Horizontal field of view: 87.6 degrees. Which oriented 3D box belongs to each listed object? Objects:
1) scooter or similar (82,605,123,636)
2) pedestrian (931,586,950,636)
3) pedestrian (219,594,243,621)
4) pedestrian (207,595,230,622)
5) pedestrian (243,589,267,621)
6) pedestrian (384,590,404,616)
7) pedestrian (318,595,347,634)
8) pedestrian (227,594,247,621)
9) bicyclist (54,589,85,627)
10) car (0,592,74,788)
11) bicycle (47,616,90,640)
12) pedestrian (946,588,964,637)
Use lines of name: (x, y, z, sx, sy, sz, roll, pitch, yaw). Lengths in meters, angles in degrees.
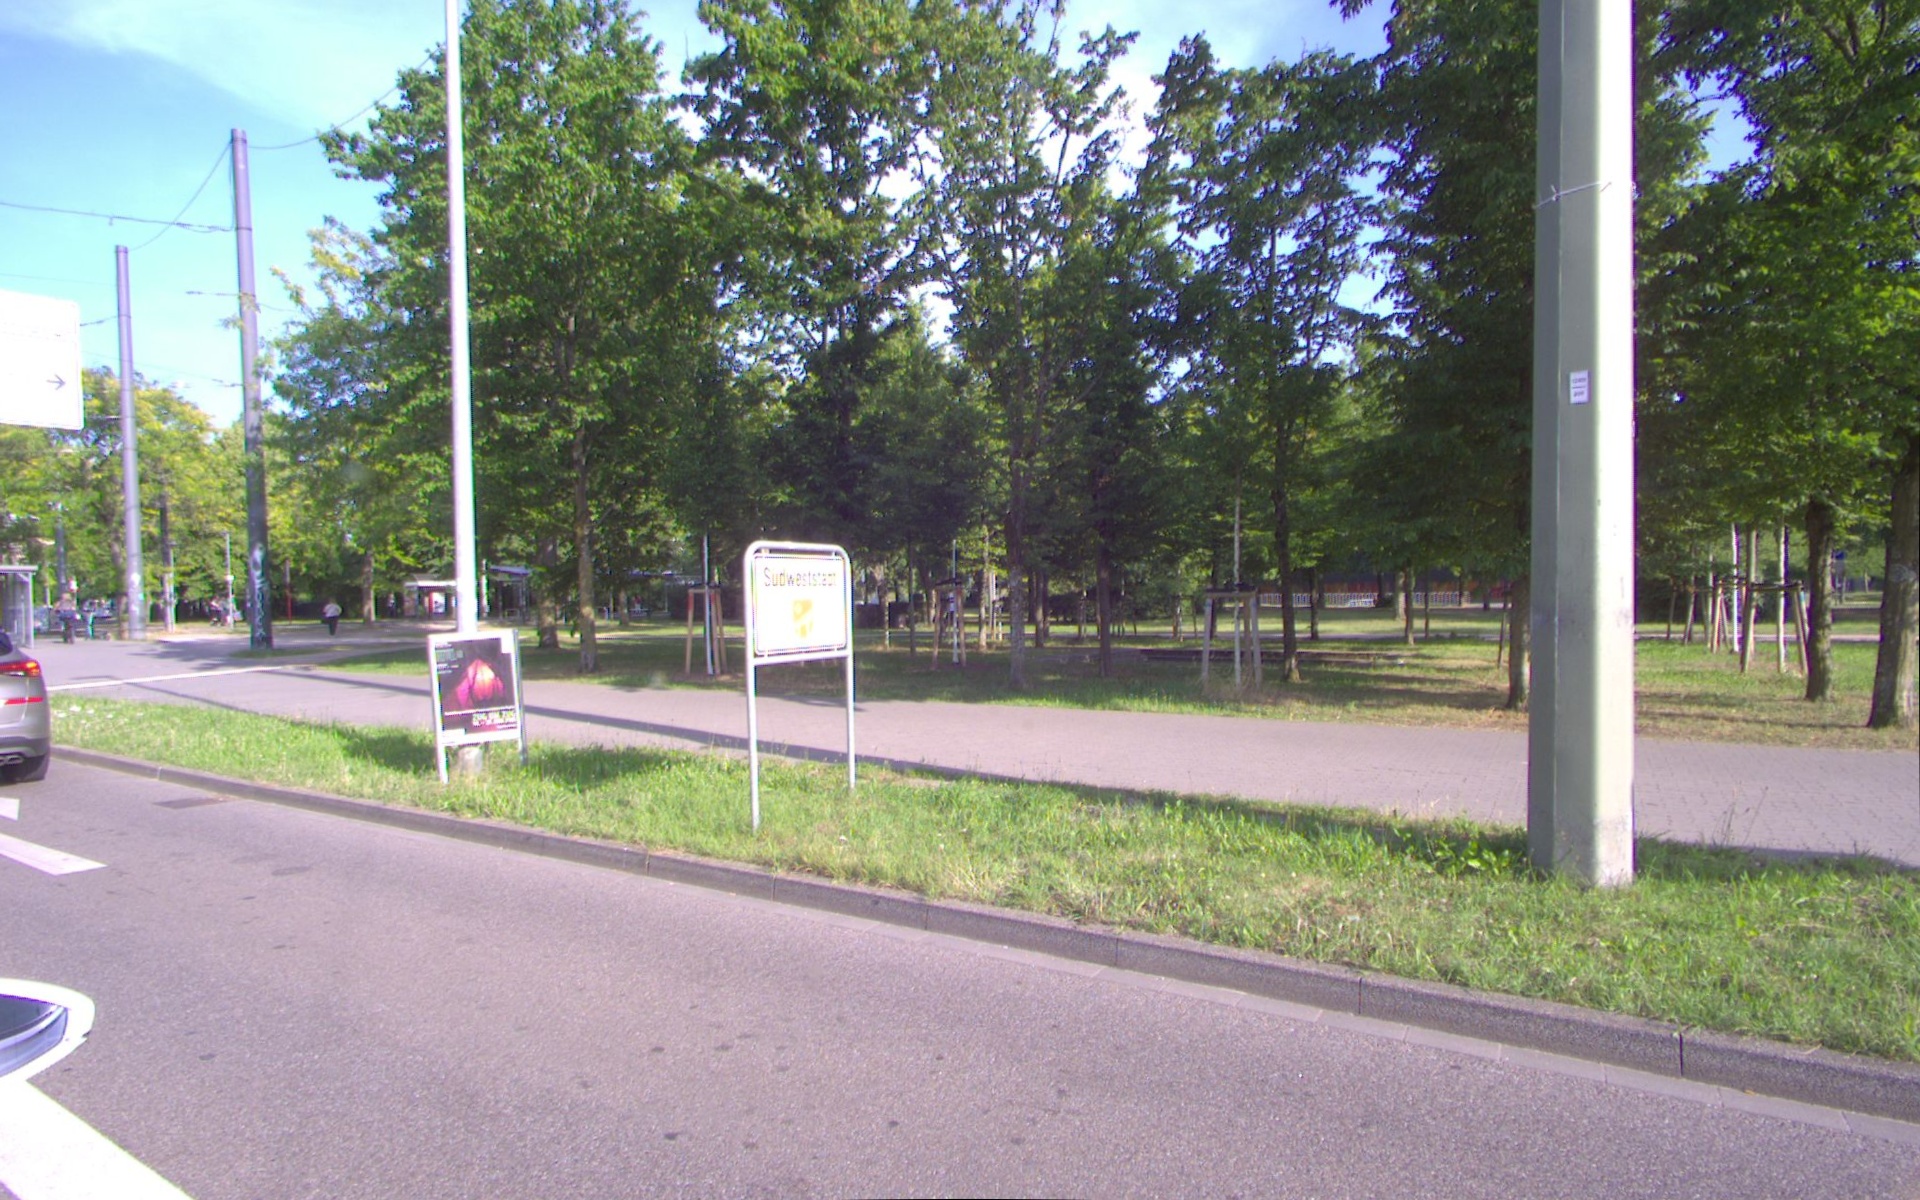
scooter or similar: (-31.538, 0.757, 36.823, 1.305, 1.132, 0.420, -1, 1, 13)
pedestrian: (-0.736, 0.420, 37.185, 0.617, 1.836, 0.502, -1, 1, 6)
pedestrian: (-41.096, 0.419, 56.451, 0.688, 1.508, 0.813, 0, 1, 22)
pedestrian: (-41.032, 0.463, 55.424, 0.687, 1.508, 0.815, -1, 1, -9)
pedestrian: (-40.253, 0.296, 57.137, 0.826, 1.809, 0.798, 0, 1, 28)
pedestrian: (-35.903, 0.177, 63.507, 0.792, 1.659, 0.832, 0, 1, 38)
pedestrian: (-27.226, 0.637, 43.450, 0.793, 1.659, 0.754, -1, 1, -7)
pedestrian: (-39.992, 0.409, 55.406, 0.804, 1.508, 0.696, -2, 1, -33)
bicyclist: (-29.854, 0.263, 33.560, 0.856, 1.279, 0.533, 0, 1, 32)
car: (-9.984, 0.800, 9.148, 3.595, 1.673, 1.880, -1, 1, 32)
bicycle: (-29.967, 0.942, 33.640, 2.138, 0.767, 0.494, -1, 2, 33)
pedestrian: (-0.184, 0.481, 38.388, 0.617, 1.836, 0.502, -1, 1, 3)
